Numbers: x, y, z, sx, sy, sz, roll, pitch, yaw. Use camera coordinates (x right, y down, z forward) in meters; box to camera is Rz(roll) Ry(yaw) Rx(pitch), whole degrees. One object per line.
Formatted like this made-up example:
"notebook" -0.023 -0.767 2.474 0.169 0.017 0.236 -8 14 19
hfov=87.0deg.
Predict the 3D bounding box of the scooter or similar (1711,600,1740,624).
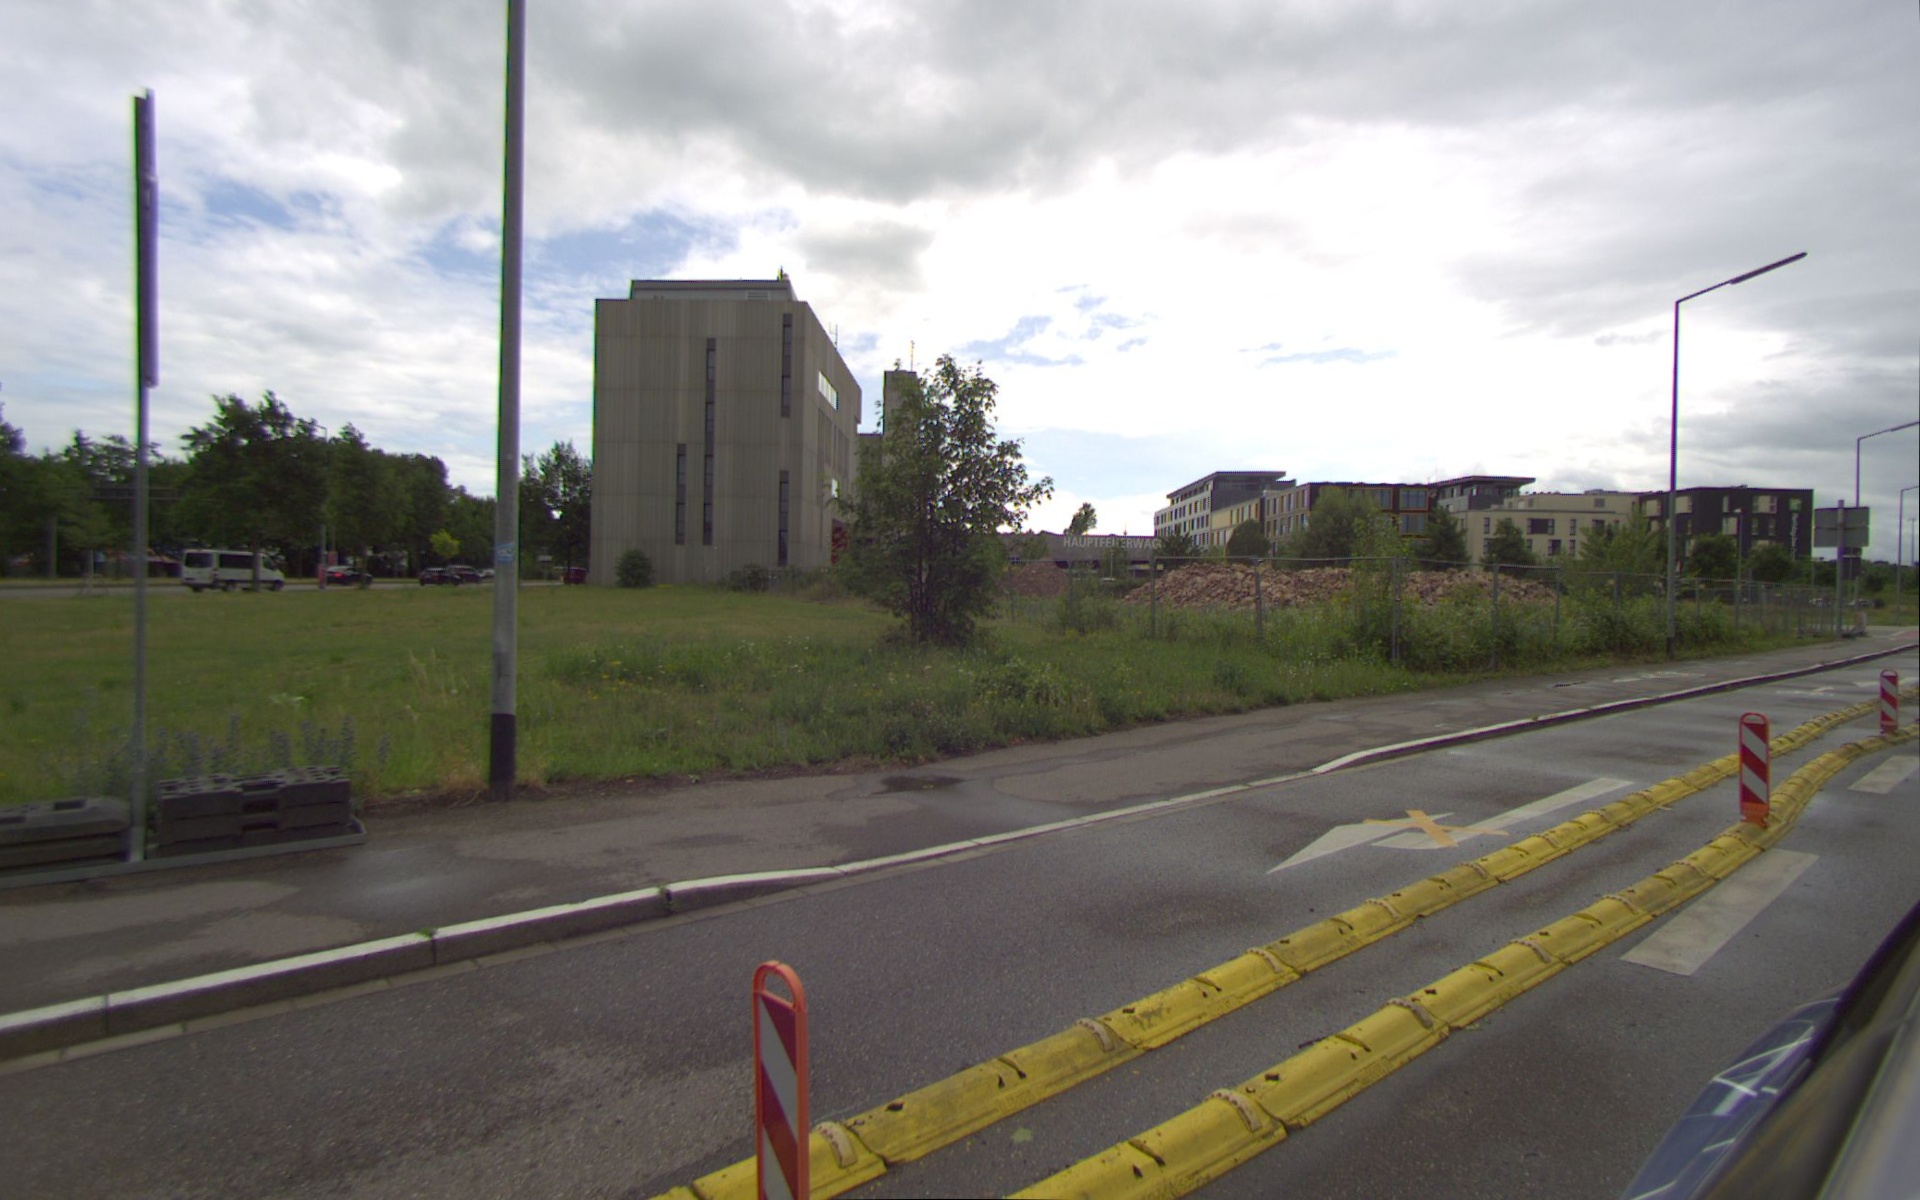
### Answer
"scooter or similar" 39.357 0.600 52.056 0.437 1.200 1.327 1 1 0

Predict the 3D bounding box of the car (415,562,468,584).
"car" -45.537 -2.388 89.012 2.077 1.817 4.606 1 1 3

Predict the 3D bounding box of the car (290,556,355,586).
"car" -45.176 -2.023 71.824 1.963 2.039 3.998 1 1 2

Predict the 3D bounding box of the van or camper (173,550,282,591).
"van or camper" -40.731 -1.609 56.488 1.963 2.142 5.551 1 1 1

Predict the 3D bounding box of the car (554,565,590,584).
"car" -40.441 -2.677 105.573 2.075 1.941 4.209 1 1 -1

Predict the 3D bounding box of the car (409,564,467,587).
"car" -42.979 -1.987 83.410 2.079 1.817 4.601 1 1 6

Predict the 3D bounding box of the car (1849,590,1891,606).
"car" 126.676 -0.259 140.883 3.925 2.039 2.000 1 1 1
